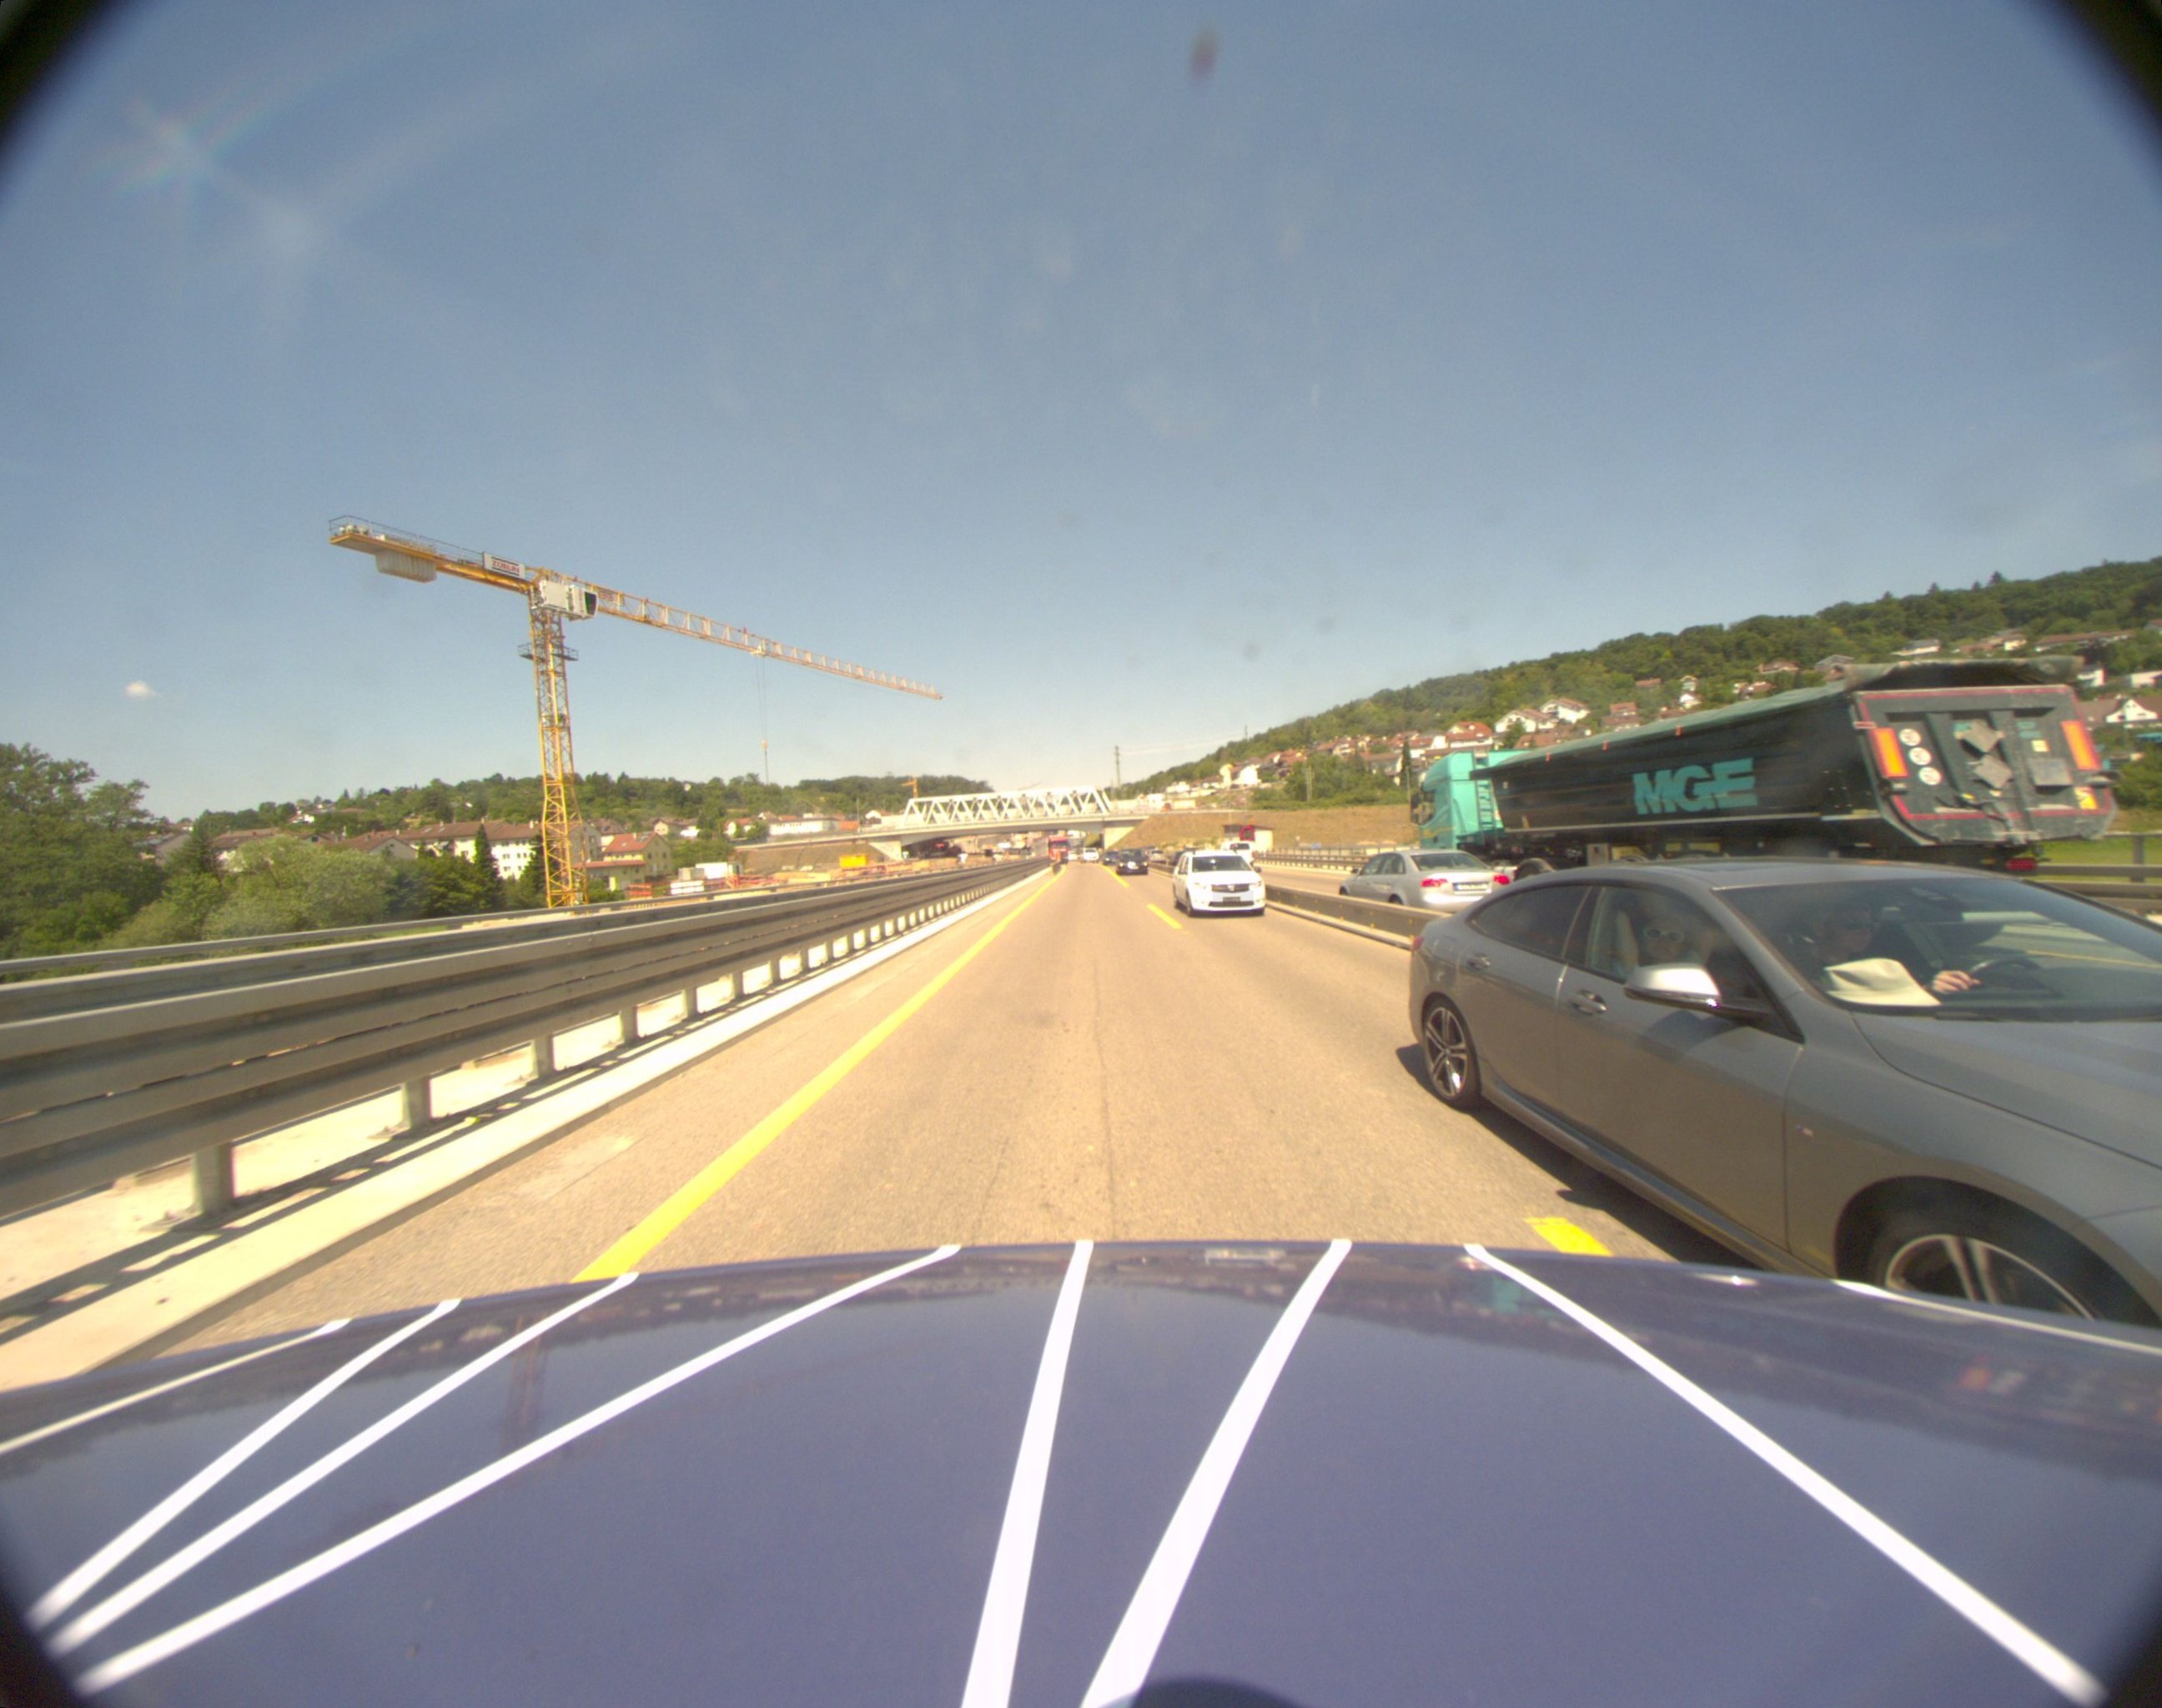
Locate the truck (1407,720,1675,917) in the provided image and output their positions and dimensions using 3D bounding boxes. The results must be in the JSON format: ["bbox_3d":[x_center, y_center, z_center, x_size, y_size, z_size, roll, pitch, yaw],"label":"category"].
[{"bbox_3d":[9.976,-0.715,17.229,2.804,3.701,5.373,-2,1,0],"label":"truck"}]

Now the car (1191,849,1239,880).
[{"bbox_3d":[6.464,0.472,37.024,1.635,1.400,4.103,0,0,1],"label":"car"}]

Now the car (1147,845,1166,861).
[{"bbox_3d":[9.910,-0.119,100.275,1.928,1.922,4.938,-3,0,0],"label":"car"}]

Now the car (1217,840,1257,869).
[{"bbox_3d":[10.539,0.006,51.683,1.863,1.856,4.629,-1,0,1],"label":"car"}]

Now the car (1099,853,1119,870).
[{"bbox_3d":[2.780,0.706,75.036,1.791,1.578,4.000,-4,0,2],"label":"car"}]

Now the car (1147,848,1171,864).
[{"bbox_3d":[7.310,0.164,71.568,1.830,1.410,4.657,0,0,1],"label":"car"}]

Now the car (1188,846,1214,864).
[{"bbox_3d":[11.491,0.083,72.873,1.818,1.560,3.999,-1,0,0],"label":"car"}]

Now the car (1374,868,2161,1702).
[{"bbox_3d":[2.946,0.845,2.840,1.856,1.443,4.742,-2,0,0],"label":"car"}]

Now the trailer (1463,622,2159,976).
[{"bbox_3d":[9.981,-0.612,12.503,2.801,3.651,8.955,-2,1,0],"label":"trailer"}]

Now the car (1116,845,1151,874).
[{"bbox_3d":[3.267,0.340,47.952,1.862,1.682,4.098,-3,0,1],"label":"car"}]

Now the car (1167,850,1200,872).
[{"bbox_3d":[6.714,0.444,50.177,1.683,1.384,4.155,0,0,1],"label":"car"}]

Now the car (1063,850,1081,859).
[{"bbox_3d":[-1.677,0.018,133.592,2.018,1.516,4.187,-2,0,-17],"label":"car"}]

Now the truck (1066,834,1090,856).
[{"bbox_3d":[-0.658,-1.863,153.099,3.269,4.112,17.322,-3,1,-5],"label":"truck"}]

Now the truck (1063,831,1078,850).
[{"bbox_3d":[-2.582,-3.232,187.304,3.174,4.531,12.081,0,0,-3],"label":"truck"}]

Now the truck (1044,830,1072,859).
[{"bbox_3d":[-3.212,-1.282,104.033,2.704,3.705,8.499,-2,1,-9],"label":"truck"}]

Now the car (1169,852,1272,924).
[{"bbox_3d":[3.310,0.743,18.890,1.823,1.521,4.706,-1,0,2],"label":"car"}]

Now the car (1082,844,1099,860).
[{"bbox_3d":[1.162,-0.284,97.818,1.792,1.871,3.999,-4,0,-3],"label":"car"}]

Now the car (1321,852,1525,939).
[{"bbox_3d":[6.201,0.664,14.484,1.785,1.372,4.711,0,0,0],"label":"car"}]
